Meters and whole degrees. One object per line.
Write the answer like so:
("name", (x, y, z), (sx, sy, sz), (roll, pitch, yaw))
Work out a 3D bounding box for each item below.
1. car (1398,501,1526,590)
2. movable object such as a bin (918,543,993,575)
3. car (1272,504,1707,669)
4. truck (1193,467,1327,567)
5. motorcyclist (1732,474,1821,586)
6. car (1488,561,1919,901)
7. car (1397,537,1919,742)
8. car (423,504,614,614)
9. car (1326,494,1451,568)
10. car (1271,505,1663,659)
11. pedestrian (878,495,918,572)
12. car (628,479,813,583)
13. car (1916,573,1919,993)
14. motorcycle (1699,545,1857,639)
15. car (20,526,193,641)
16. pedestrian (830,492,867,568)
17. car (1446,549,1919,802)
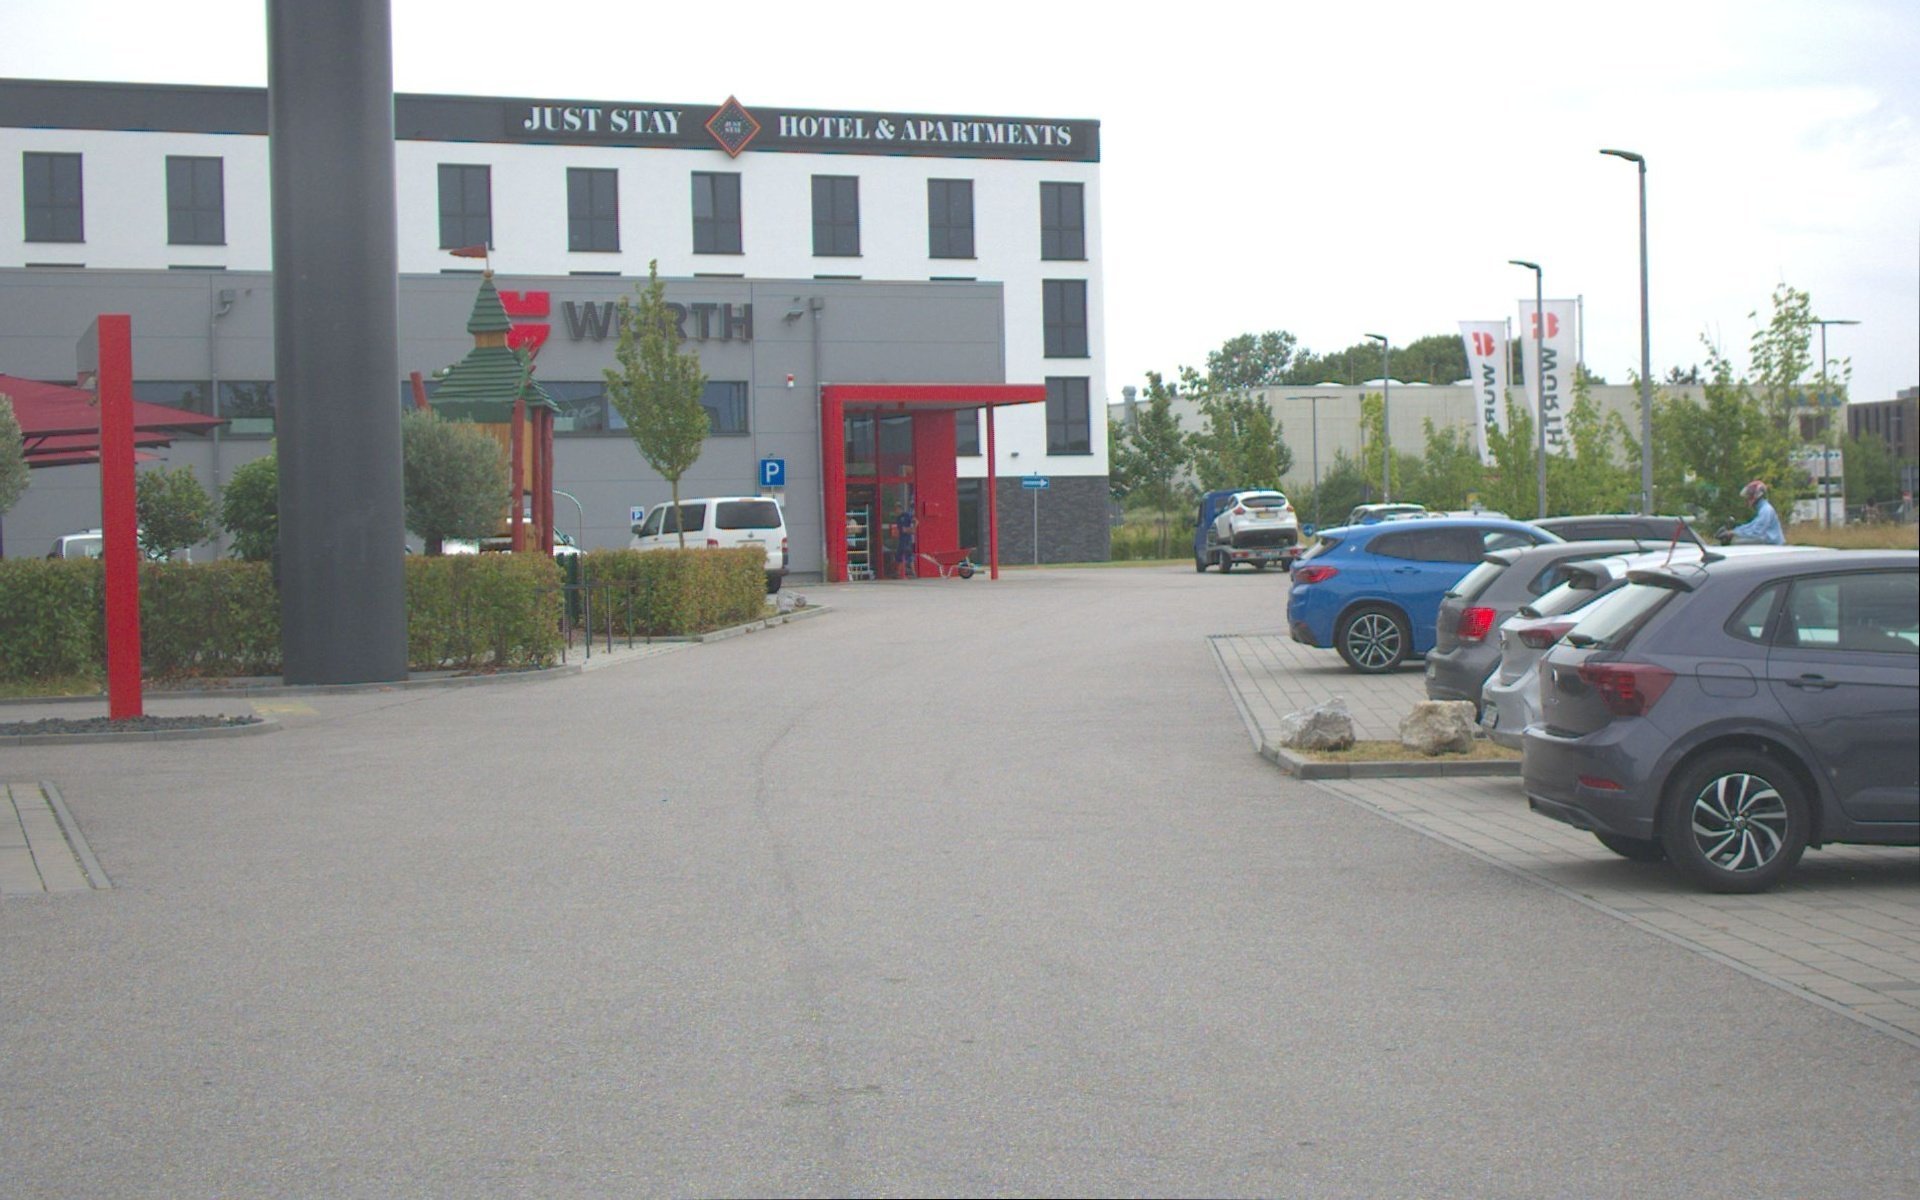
("car", (8.691, -0.971, 59.823), (1.751, 1.464, 4.476), (-1, 1, 3))
("movable object such as a bin", (-0.113, -0.945, 79.348), (1.488, 0.701, 0.965), (-1, 1, -20))
("car", (5.303, -0.156, 34.873), (4.202, 1.539, 1.864), (-1, 1, 5))
("truck", (8.172, -2.232, 94.559), (2.331, 2.398, 7.897), (0, -1, -5))
("motorcyclist", (11.129, -0.957, 46.880), (0.938, 1.483, 0.831), (-2, 1, -4))
("car", (4.403, 0.547, 15.342), (3.795, 1.407, 1.739), (0, 1, -1))
("car", (5.274, 0.265, 25.118), (3.987, 1.423, 1.727), (0, 1, 2))
("car", (-7.393, -0.669, 57.184), (1.993, 1.644, 4.579), (-4, 2, -22))
("car", (9.696, -1.551, 78.041), (1.856, 1.644, 4.001), (0, 1, -8))
("car", (5.446, -0.209, 37.250), (4.062, 1.454, 1.776), (-2, 2, 6))
("pedestrian", (-1.458, -1.557, 80.451), (0.676, 1.796, 0.880), (-1, 1, -19))
("car", (-4.970, -1.405, 70.844), (2.055, 1.848, 4.062), (-7, 3, -30))
("car", (5.439, 0.523, 10.347), (4.530, 1.536, 1.926), (0, 1, -6))
("motorcycle", (11.147, -0.119, 46.900), (1.915, 1.204, 0.795), (-2, 1, -4))
("car", (-13.597, -0.272, 54.576), (1.993, 1.644, 4.579), (-4, 2, -22))
("pedestrian", (-2.613, -1.637, 80.420), (0.623, 1.745, 0.906), (-2, 1, -17))
("car", (4.980, 0.415, 20.358), (3.926, 1.407, 1.840), (0, 1, 0))
